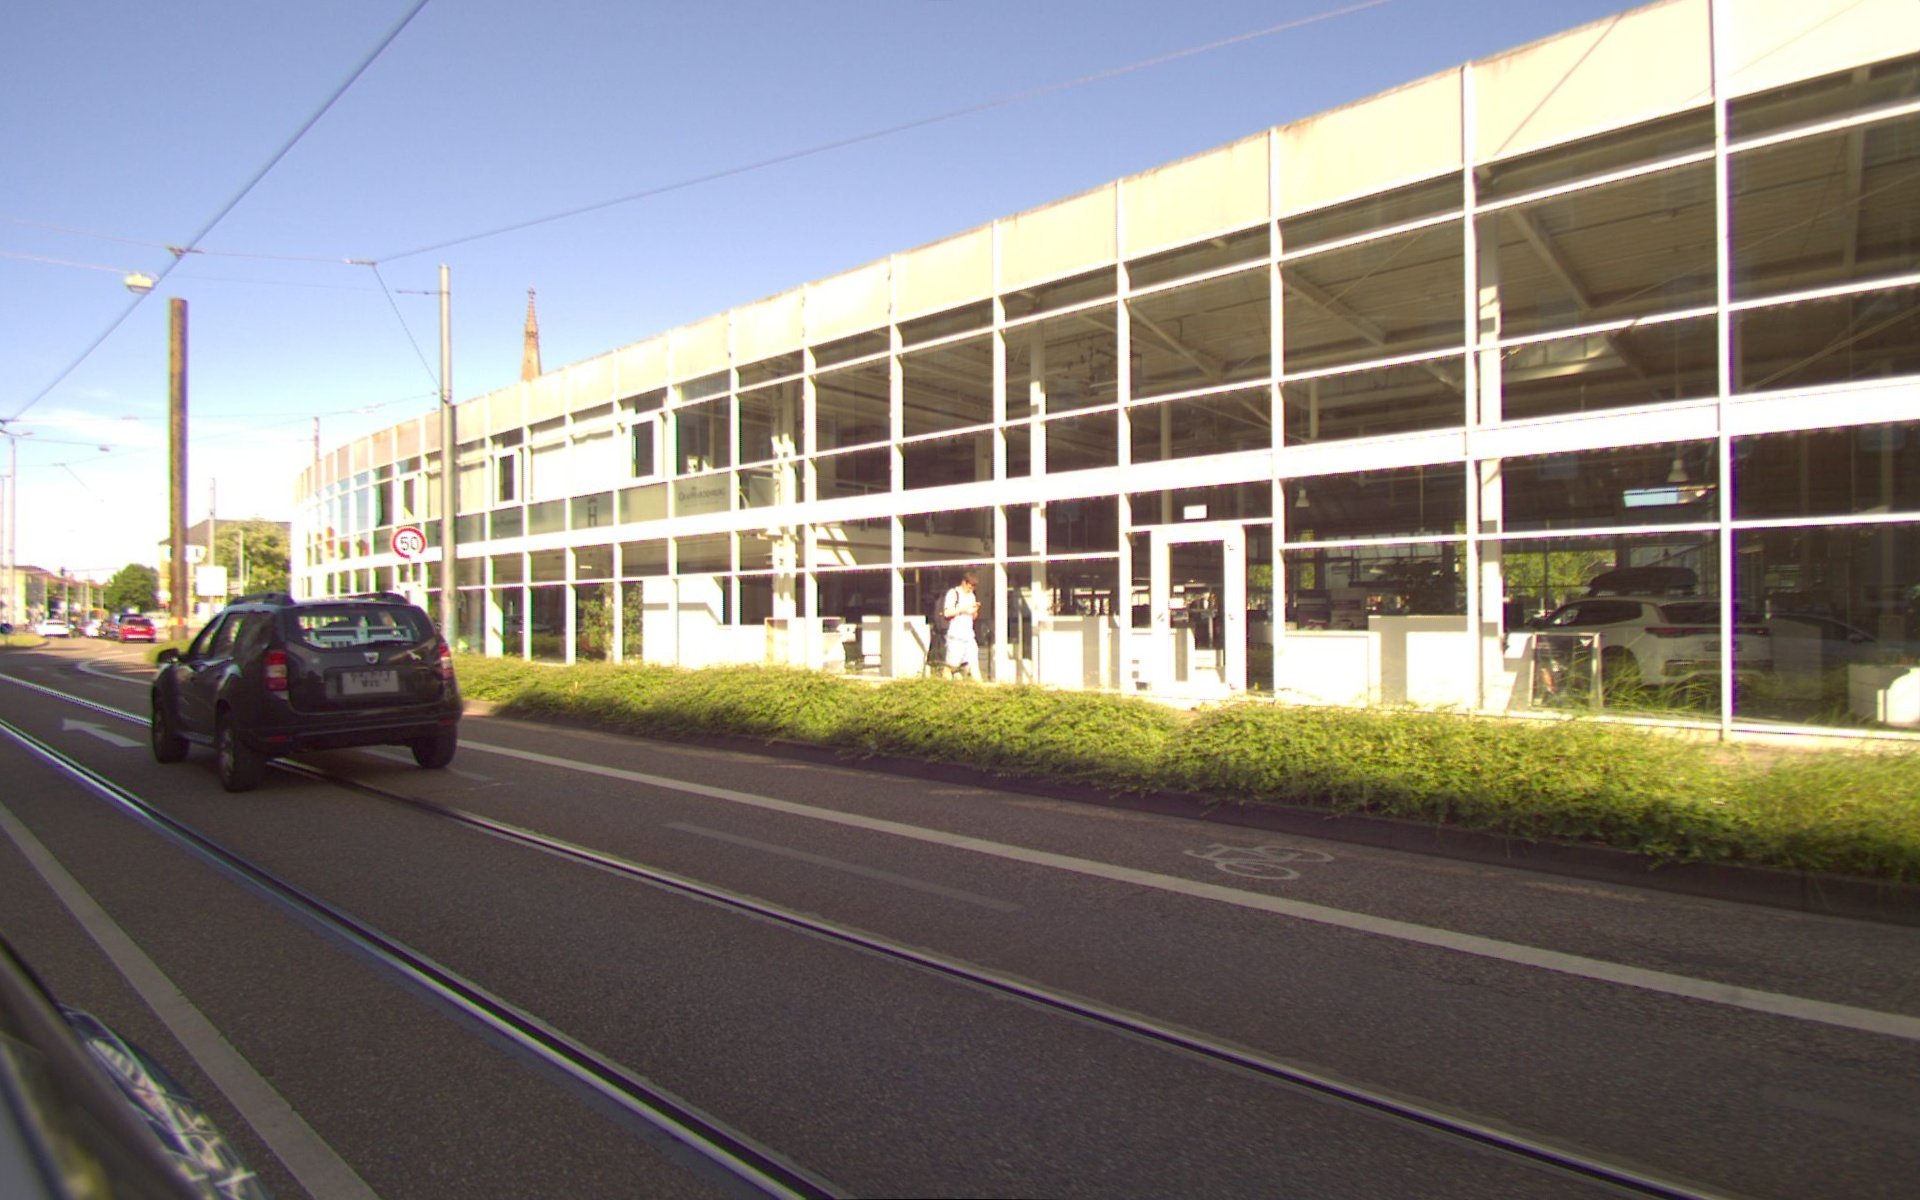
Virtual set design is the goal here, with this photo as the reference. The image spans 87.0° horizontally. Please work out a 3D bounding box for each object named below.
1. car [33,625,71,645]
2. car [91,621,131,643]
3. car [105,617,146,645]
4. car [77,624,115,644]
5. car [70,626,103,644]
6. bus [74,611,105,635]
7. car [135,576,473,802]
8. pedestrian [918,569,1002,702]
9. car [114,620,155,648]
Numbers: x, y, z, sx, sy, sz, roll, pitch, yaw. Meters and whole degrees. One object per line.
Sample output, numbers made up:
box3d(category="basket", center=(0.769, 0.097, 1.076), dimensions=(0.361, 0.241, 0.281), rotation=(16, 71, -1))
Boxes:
box3d(category="car", center=(-72.342, 2.796, 80.630), dimensions=(4.540, 1.443, 1.783), rotation=(-1, 1, 42))
box3d(category="car", center=(-64.926, 2.448, 77.391), dimensions=(4.164, 1.590, 1.783), rotation=(-1, -1, 42))
box3d(category="car", center=(-59.941, 2.218, 72.704), dimensions=(4.166, 1.948, 1.782), rotation=(-1, -1, 44))
box3d(category="car", center=(-70.086, 2.742, 82.081), dimensions=(3.999, 1.443, 1.783), rotation=(-1, 1, 42))
box3d(category="car", center=(-73.870, 2.953, 85.572), dimensions=(3.970, 1.490, 1.632), rotation=(-1, -2, 42))
box3d(category="bus", center=(-133.325, 3.417, 155.123), dimensions=(2.804, 3.144, 11.847), rotation=(-2, 2, -37))
box3d(category="car", center=(-6.455, 0.680, 9.769), dimensions=(4.143, 1.709, 1.740), rotation=(-1, 1, 43))
box3d(category="pedestrian", center=(-0.002, 0.473, 14.013), dimensions=(1.050, 1.778, 0.521), rotation=(-1, 1, 41))
box3d(category="car", center=(-54.943, 2.229, 67.333), dimensions=(1.777, 1.732, 4.421), rotation=(1, -1, -43))
